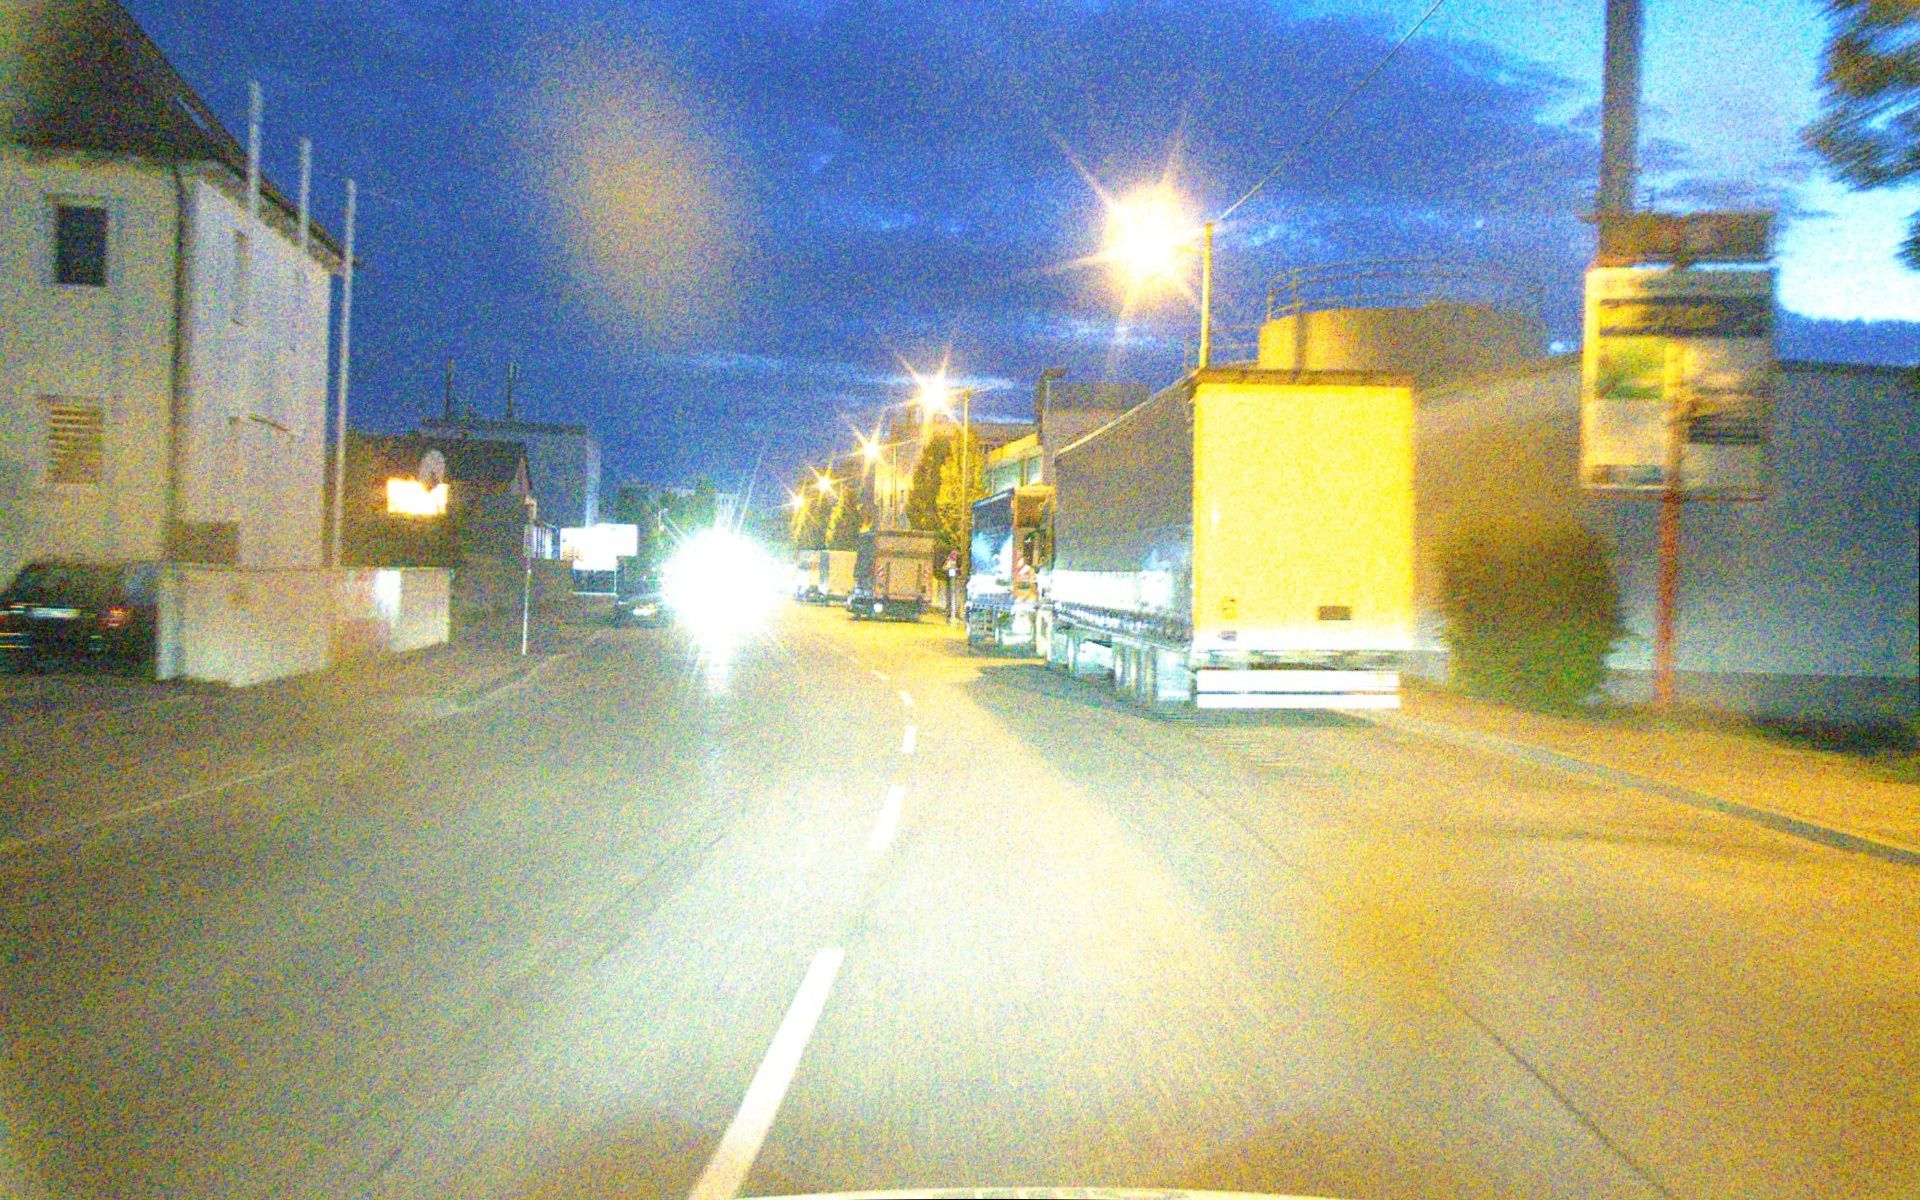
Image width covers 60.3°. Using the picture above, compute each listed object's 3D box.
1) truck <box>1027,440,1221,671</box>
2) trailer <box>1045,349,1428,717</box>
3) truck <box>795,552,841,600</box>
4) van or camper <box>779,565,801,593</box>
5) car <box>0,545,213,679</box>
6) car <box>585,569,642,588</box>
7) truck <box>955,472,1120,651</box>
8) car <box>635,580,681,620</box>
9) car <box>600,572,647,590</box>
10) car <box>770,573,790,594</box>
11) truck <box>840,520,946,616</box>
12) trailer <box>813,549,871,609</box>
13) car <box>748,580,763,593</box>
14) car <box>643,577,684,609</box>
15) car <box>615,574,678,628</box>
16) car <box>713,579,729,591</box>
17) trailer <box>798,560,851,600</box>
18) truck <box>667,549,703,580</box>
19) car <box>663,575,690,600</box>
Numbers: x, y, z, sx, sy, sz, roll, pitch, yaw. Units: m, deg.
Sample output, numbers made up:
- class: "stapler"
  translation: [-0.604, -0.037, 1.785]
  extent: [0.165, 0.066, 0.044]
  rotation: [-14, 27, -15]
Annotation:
- class: "truck"
  translation: [3.011, -0.794, 32.158]
  extent: [2.774, 4.053, 6.045]
  rotation: [0, 0, -4]
- class: "trailer"
  translation: [3.444, -0.761, 25.323]
  extent: [2.753, 4.053, 13.965]
  rotation: [0, 0, -3]
- class: "truck"
  translation: [-10.961, -1.806, 126.908]
  extent: [3.093, 3.524, 6.660]
  rotation: [0, 0, -9]
- class: "van or camper"
  translation: [-16.493, -2.058, 160.213]
  extent: [1.956, 2.626, 4.906]
  rotation: [2, 0, -8]
- class: "car"
  translation: [-11.015, 0.104, 21.467]
  extent: [1.799, 1.520, 4.506]
  rotation: [2, 1, -17]
- class: "car"
  translation: [-30.834, -1.917, 147.234]
  extent: [4.567, 1.511, 1.979]
  rotation: [2, 0, -32]
- class: "truck"
  translation: [1.744, -0.884, 42.677]
  extent: [2.775, 4.053, 10.329]
  rotation: [0, 0, -6]
- class: "car"
  translation: [-11.225, -0.035, 61.662]
  extent: [1.572, 1.377, 3.992]
  rotation: [2, 1, -9]
- class: "car"
  translation: [-31.650, -1.783, 155.664]
  extent: [3.954, 1.622, 1.976]
  rotation: [0, 0, -35]
- class: "car"
  translation: [-19.697, -1.795, 180.398]
  extent: [1.956, 2.183, 3.992]
  rotation: [2, 0, -9]
- class: "truck"
  translation: [-3.221, -1.380, 75.637]
  extent: [3.457, 4.053, 10.316]
  rotation: [0, 0, -10]
- class: "trailer"
  translation: [-7.468, -1.276, 103.744]
  extent: [2.639, 3.525, 7.788]
  rotation: [2, 0, -11]
- class: "car"
  translation: [-28.459, -1.892, 229.900]
  extent: [1.956, 1.713, 3.992]
  rotation: [2, 0, -9]
- class: "car"
  translation: [-14.343, -0.359, 80.243]
  extent: [1.807, 1.445, 3.992]
  rotation: [2, 0, -9]
- class: "car"
  translation: [-10.639, 0.023, 56.362]
  extent: [1.957, 1.665, 4.763]
  rotation: [2, 0, -10]
- class: "car"
  translation: [-30.129, -1.886, 208.145]
  extent: [1.956, 1.422, 3.992]
  rotation: [2, 0, -9]
- class: "trailer"
  translation: [-9.906, -1.403, 119.859]
  extent: [3.125, 2.797, 10.694]
  rotation: [0, 0, -8]
- class: "truck"
  translation: [-34.563, -4.453, 207.878]
  extent: [3.824, 3.684, 8.231]
  rotation: [2, 0, -14]
- class: "car"
  translation: [-22.554, -1.010, 131.842]
  extent: [1.956, 1.825, 3.992]
  rotation: [2, 0, -9]
